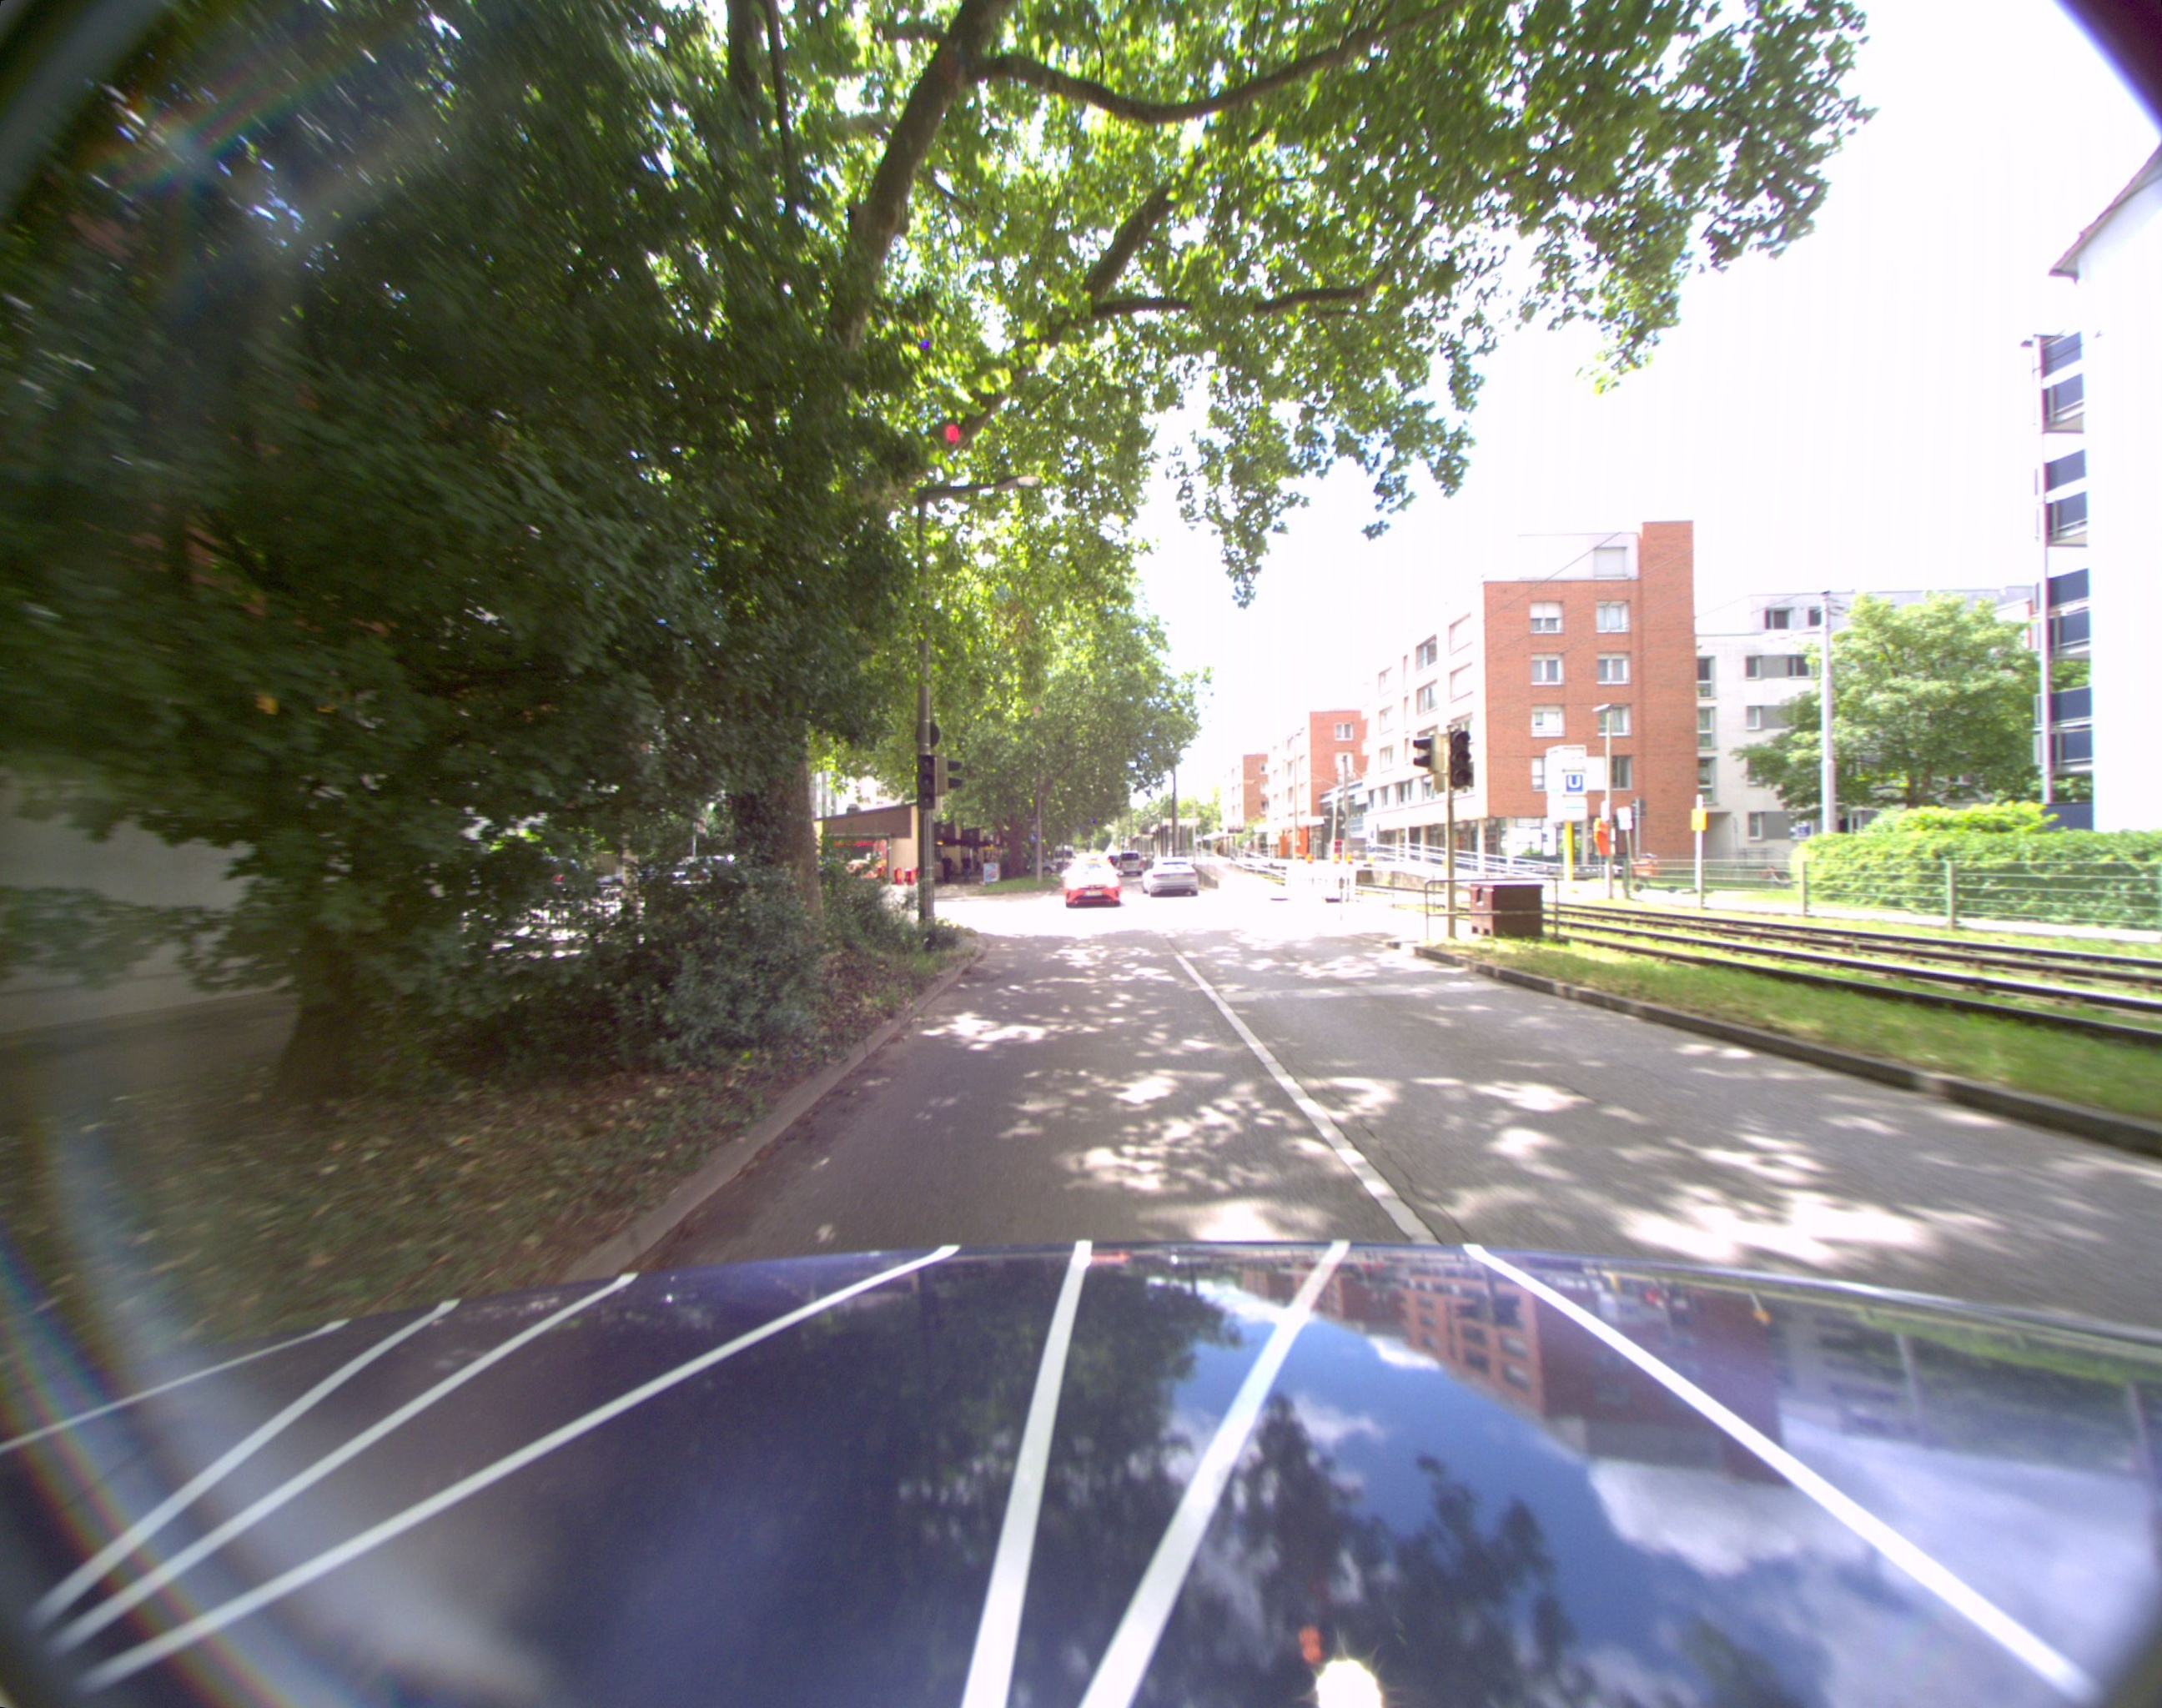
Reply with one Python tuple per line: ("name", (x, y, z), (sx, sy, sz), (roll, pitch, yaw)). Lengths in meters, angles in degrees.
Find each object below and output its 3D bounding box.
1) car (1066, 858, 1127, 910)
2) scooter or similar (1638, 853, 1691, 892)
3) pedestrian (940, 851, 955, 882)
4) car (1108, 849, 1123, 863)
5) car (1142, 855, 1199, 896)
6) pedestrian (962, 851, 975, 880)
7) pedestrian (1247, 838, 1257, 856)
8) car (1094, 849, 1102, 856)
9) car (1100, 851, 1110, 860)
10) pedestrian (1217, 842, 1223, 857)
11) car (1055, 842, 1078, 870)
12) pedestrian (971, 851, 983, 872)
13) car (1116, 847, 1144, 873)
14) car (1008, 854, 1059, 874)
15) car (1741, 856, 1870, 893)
("car", (0.488, 0.900, 24.125), (1.712, 1.439, 3.670), (-2, 0, 1))
("scooter or similar", (18.685, 0.593, 24.350), (1.299, 1.246, 0.466), (0, 0, 10))
("pedestrian", (-7.622, 0.696, 43.287), (0.761, 1.715, 0.658), (1, 0, -3))
("car", (4.380, 0.235, 97.555), (1.758, 1.624, 4.119), (-2, 0, 0))
("car", (3.300, 0.767, 28.659), (1.640, 1.426, 3.851), (-1, 0, -1))
("pedestrian", (-6.477, 0.643, 43.699), (0.625, 1.666, 0.772), (0, 1, 1))
("pedestrian", (15.831, -0.650, 70.438), (0.753, 1.619, 0.816), (-2, 1, 1))
("car", (3.716, -0.342, 168.731), (1.766, 1.472, 3.753), (-3, 0, 0))
("car", (4.433, 0.249, 140.297), (1.766, 1.472, 4.576), (-3, 0, 0))
("pedestrian", (16.299, -0.516, 89.220), (0.535, 1.753, 0.528), (0, 1, -2))
("car", (-1.362, 0.181, 73.736), (1.909, 2.566, 6.833), (1, 0, 1))
("pedestrian", (-9.157, 0.631, 67.066), (0.607, 1.791, 0.923), (-1, 2, -45))
("car", (3.685, 0.444, 58.126), (1.758, 1.829, 4.646), (-2, 0, -1))
("car", (-3.675, 0.765, 58.596), (3.841, 1.553, 1.619), (0, 1, -6))
("car", (31.318, 0.841, 33.029), (1.899, 1.543, 4.001), (0, 0, 3))
